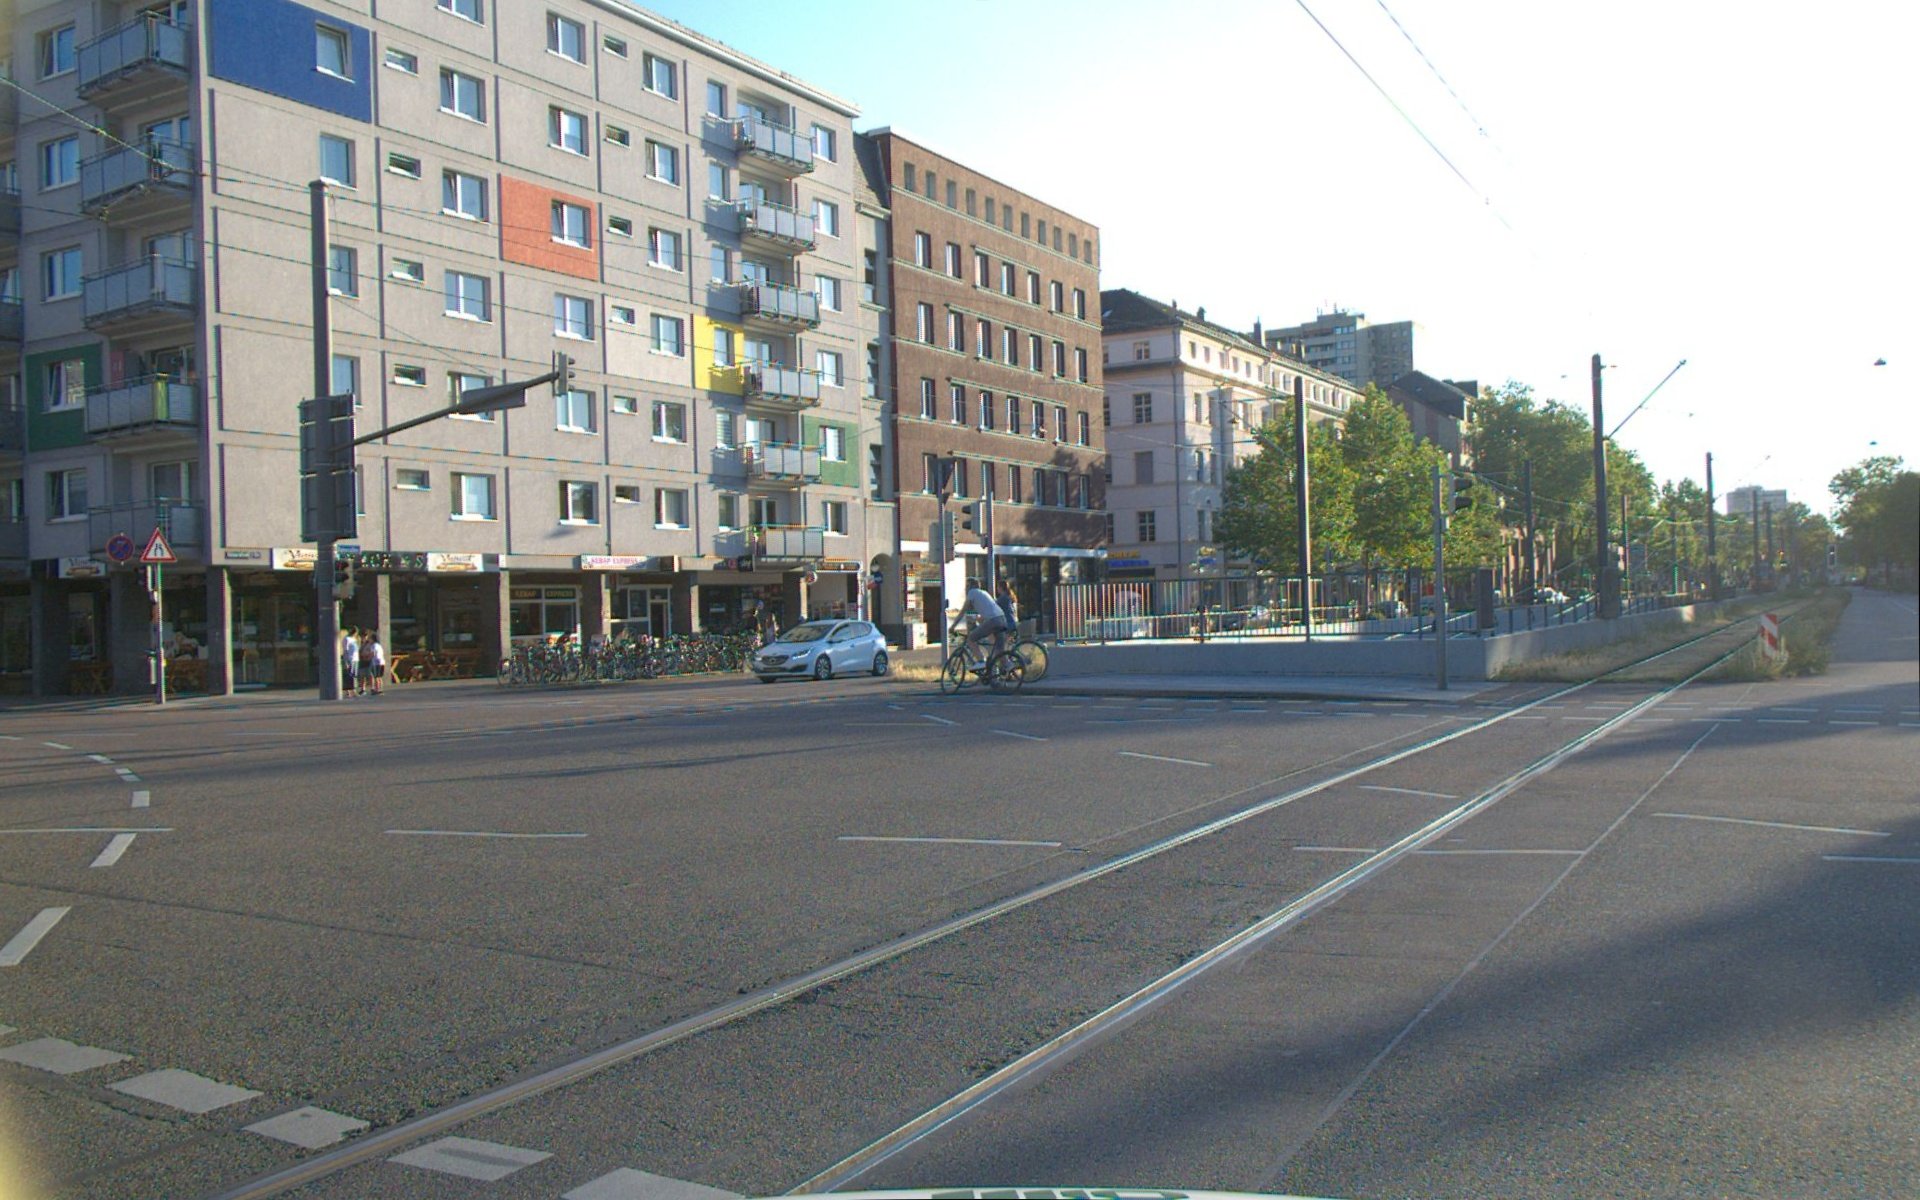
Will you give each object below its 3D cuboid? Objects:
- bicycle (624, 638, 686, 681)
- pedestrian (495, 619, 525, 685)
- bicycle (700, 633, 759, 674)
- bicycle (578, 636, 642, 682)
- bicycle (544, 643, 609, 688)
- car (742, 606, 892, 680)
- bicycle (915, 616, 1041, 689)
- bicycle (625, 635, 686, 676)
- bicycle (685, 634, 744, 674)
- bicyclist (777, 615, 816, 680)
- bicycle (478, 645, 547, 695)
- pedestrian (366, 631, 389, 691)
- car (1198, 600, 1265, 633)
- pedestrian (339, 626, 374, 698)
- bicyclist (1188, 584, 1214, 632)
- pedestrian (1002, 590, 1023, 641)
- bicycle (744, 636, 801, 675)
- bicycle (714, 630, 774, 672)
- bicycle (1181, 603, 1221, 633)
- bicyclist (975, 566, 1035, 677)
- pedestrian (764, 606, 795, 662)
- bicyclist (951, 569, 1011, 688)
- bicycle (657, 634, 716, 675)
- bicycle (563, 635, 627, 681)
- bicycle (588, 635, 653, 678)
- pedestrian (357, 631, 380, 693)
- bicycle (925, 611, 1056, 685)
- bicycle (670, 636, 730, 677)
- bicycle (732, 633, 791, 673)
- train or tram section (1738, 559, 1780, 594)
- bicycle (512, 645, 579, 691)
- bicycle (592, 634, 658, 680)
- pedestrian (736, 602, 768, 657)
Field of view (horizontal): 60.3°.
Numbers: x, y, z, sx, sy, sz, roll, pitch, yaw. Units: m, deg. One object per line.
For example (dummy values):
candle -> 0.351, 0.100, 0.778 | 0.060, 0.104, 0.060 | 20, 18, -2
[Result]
bicycle -> -8.607, 1.690, 46.637 | 1.743, 1.179, 0.604 | -2, -1, 30
pedestrian -> -12.004, 1.382, 44.134 | 0.541, 1.713, 0.573 | -2, -1, -39
bicycle -> -6.861, 1.589, 49.279 | 1.659, 1.173, 0.704 | -2, -1, 31
bicycle -> -9.476, 1.601, 44.731 | 1.736, 1.202, 0.567 | -2, -1, 29
bicycle -> -10.154, 1.739, 43.787 | 1.724, 1.159, 0.598 | -2, -1, 30
car -> -3.480, 1.033, 40.898 | 1.658, 1.646, 3.992 | -2, 0, 30
bicycle -> 0.288, 0.838, 26.293 | 1.860, 1.094, 0.633 | -2, 0, 15
bicycle -> -8.730, 1.593, 47.444 | 1.738, 1.156, 0.604 | -2, -1, 30
bicycle -> -7.244, 1.597, 48.698 | 1.695, 1.144, 0.633 | -2, -1, 31
bicyclist -> -4.605, 1.333, 46.540 | 0.691, 1.773, 0.787 | -2, -1, 41
bicycle -> -11.580, 1.812, 42.802 | 1.760, 1.229, 0.637 | -2, -1, 29
pedestrian -> -13.840, 1.448, 39.292 | 0.373, 1.407, 0.395 | -2, 0, 1
car -> 13.311, 0.787, 80.912 | 1.787, 1.445, 3.990 | -2, 0, 32
pedestrian -> -14.057, 1.443, 38.559 | 0.560, 1.648, 0.603 | -2, 0, -2
bicyclist -> 10.510, 0.339, 72.032 | 0.782, 2.049, 0.921 | -2, 0, 31
pedestrian -> 2.296, 0.676, 72.157 | 0.590, 2.216, 0.791 | -2, 0, 29
bicycle -> -5.806, 1.710, 51.263 | 1.659, 1.164, 0.695 | -2, -1, 31
bicycle -> -6.518, 1.544, 49.933 | 1.659, 1.199, 0.747 | -2, -1, 31
bicycle -> 10.505, 0.793, 72.050 | 0.798, 1.222, 2.407 | -2, 0, 31
bicyclist -> 0.768, 0.369, 28.283 | 0.857, 1.850, 0.538 | -3, -1, 12
pedestrian -> -6.221, 1.169, 56.937 | 0.770, 1.873, 0.734 | -2, 0, 21
bicyclist -> 0.341, 0.452, 26.261 | 0.776, 1.850, 0.647 | -2, 0, 15
bicycle -> -7.877, 1.582, 47.642 | 1.722, 1.136, 0.551 | -2, -1, 30
bicycle -> -9.770, 1.554, 44.218 | 1.733, 1.188, 0.539 | -2, -1, 30
bicycle -> -9.528, 1.587, 46.354 | 1.796, 1.181, 0.639 | -2, -1, 30
pedestrian -> -14.256, 1.491, 39.851 | 0.369, 1.474, 0.395 | -2, 0, 2
bicycle -> 0.523, 0.829, 28.337 | 2.118, 1.102, 0.539 | -4, -1, 12
bicycle -> -7.572, 1.647, 48.143 | 1.728, 1.139, 0.567 | -2, -1, 30
bicycle -> -6.082, 1.631, 50.574 | 1.659, 1.190, 0.747 | -2, -1, 31
train or tram section -> 96.242, -2.832, 199.403 | 4.299, 3.917, 11.403 | -2, 0, 25
bicycle -> -10.917, 1.797, 43.529 | 1.743, 1.162, 0.607 | -2, -1, 30
bicycle -> -9.184, 1.574, 45.315 | 1.755, 1.212, 0.650 | -2, -1, 29
pedestrian -> -7.176, 1.001, 57.114 | 0.809, 1.844, 0.721 | -2, 0, 19
